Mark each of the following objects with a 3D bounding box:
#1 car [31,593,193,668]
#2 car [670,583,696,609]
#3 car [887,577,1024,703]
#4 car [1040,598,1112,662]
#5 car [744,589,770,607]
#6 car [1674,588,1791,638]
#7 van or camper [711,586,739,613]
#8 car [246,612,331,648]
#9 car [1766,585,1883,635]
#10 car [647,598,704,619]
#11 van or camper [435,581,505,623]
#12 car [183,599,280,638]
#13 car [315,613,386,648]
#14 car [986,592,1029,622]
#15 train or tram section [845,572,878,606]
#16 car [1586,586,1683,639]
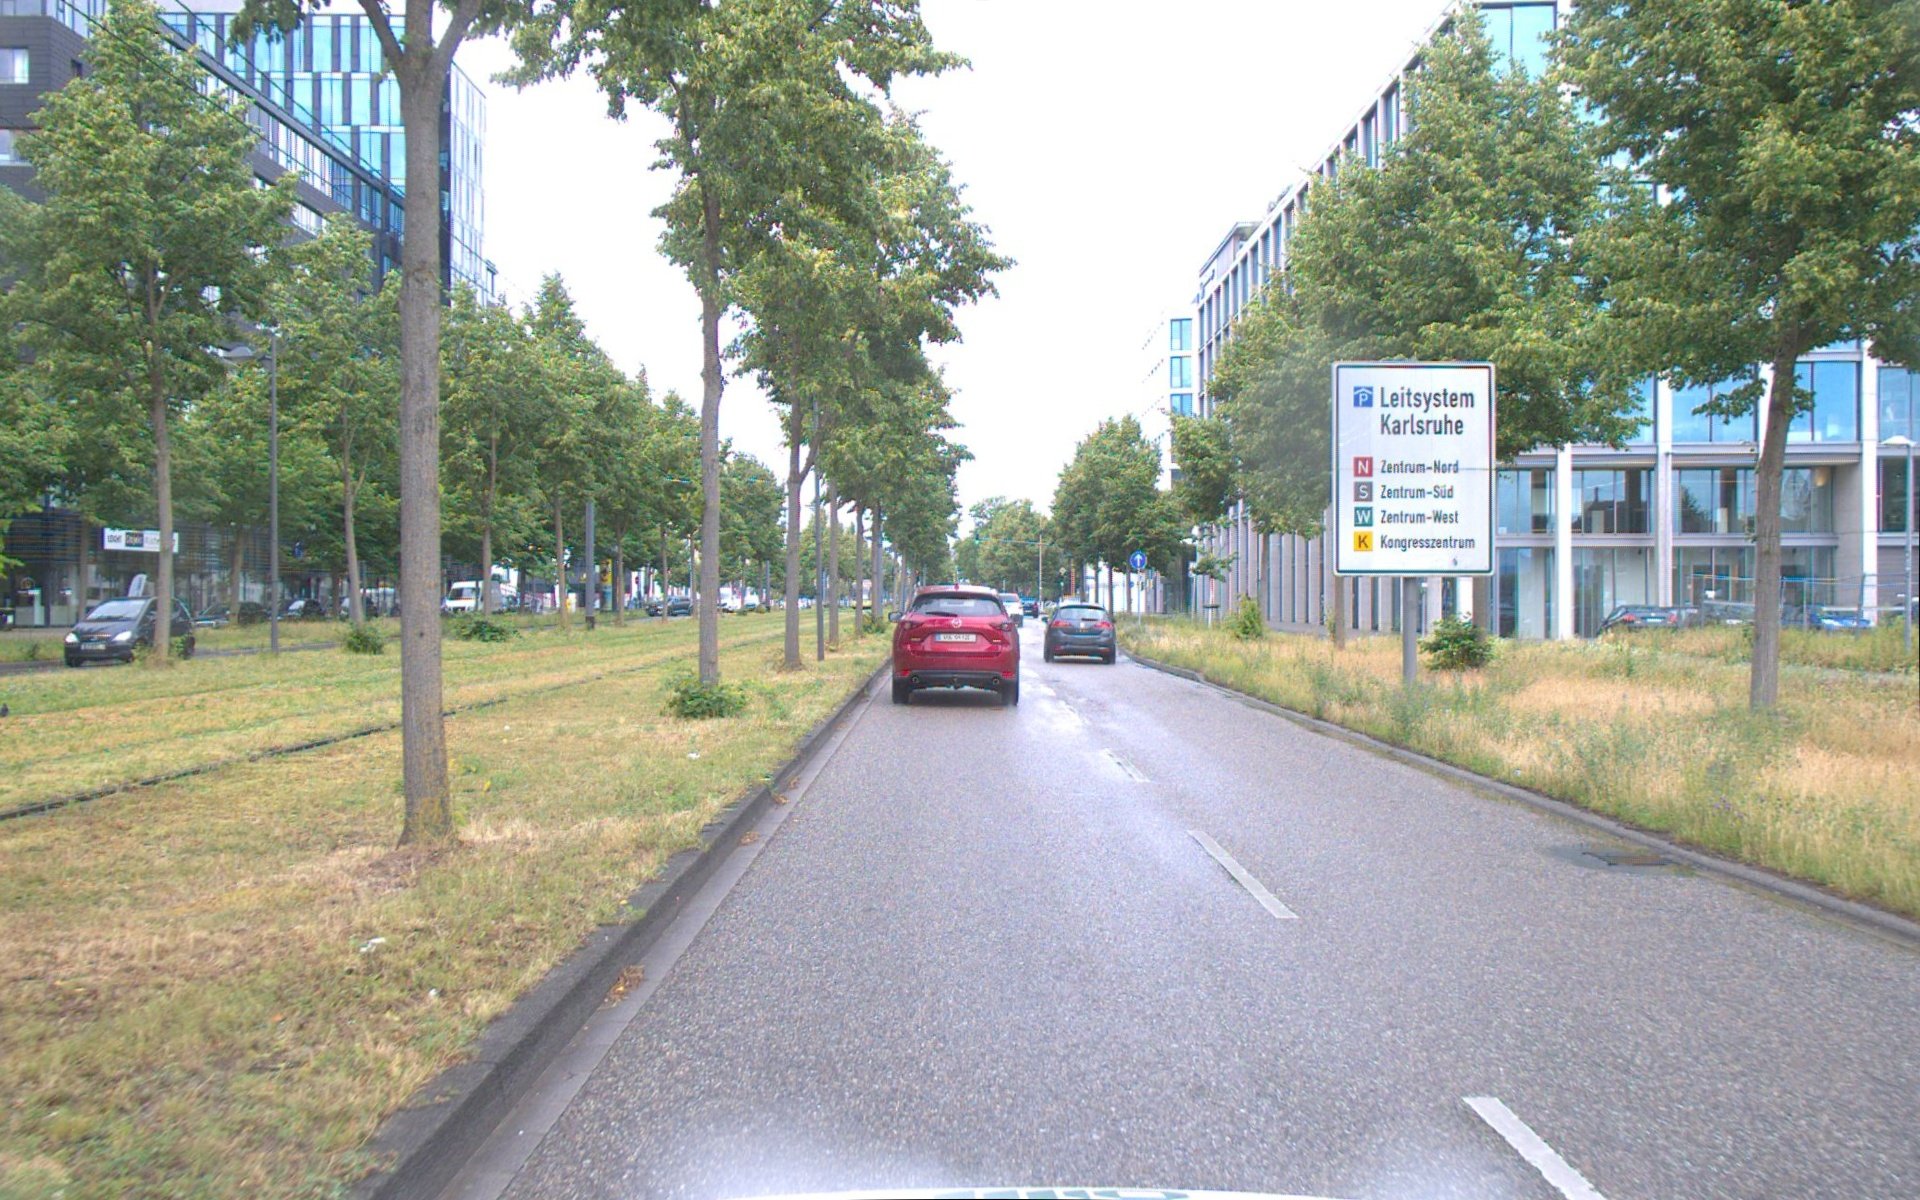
[{"bbox_3d":[-20.087,0.686,39.346,1.953,1.685,3.699,0,0,0],"label":"car"},{"bbox_3d":[-28.389,-0.398,169.663,2.211,2.606,4.651,1,0,-5],"label":"car"},{"bbox_3d":[-0.092,0.539,24.593,1.860,1.706,3.999,0,0,-1],"label":"car"},{"bbox_3d":[2.860,0.701,41.077,1.707,1.490,3.783,0,0,3],"label":"car"},{"bbox_3d":[-18.261,-0.190,148.808,1.825,1.551,4.479,0,0,0],"label":"car"},{"bbox_3d":[23.843,0.366,51.197,1.816,1.480,4.560,0,0,5],"label":"car"},{"bbox_3d":[-22.320,-0.053,157.077,1.870,2.453,5.402,0,0,0],"label":"van or camper"},{"bbox_3d":[-28.169,1.237,69.517,1.953,1.402,3.999,0,0,-1],"label":"car"},{"bbox_3d":[26.805,0.295,51.397,1.816,1.480,4.002,0,0,5],"label":"car"},{"bbox_3d":[-21.574,0.619,125.712,1.954,1.548,4.677,0,0,26],"label":"car"},{"bbox_3d":[-28.527,0.078,96.463,2.383,2.356,5.849,0,0,0],"label":"van or camper"},{"bbox_3d":[-27.695,0.673,63.014,1.953,1.402,3.999,0,0,-1],"label":"car"},{"bbox_3d":[-27.859,1.384,75.728,1.667,1.475,4.241,0,0,-1],"label":"car"},{"bbox_3d":[2.435,0.365,85.913,1.928,1.462,4.551,2,0,-2],"label":"car"},{"bbox_3d":[-11.036,-1.243,186.965,3.065,3.723,13.404,0,0,-1],"label":"train or tram section"},{"bbox_3d":[21.148,0.374,52.007,1.815,1.608,4.003,0,0,7],"label":"car"}]
